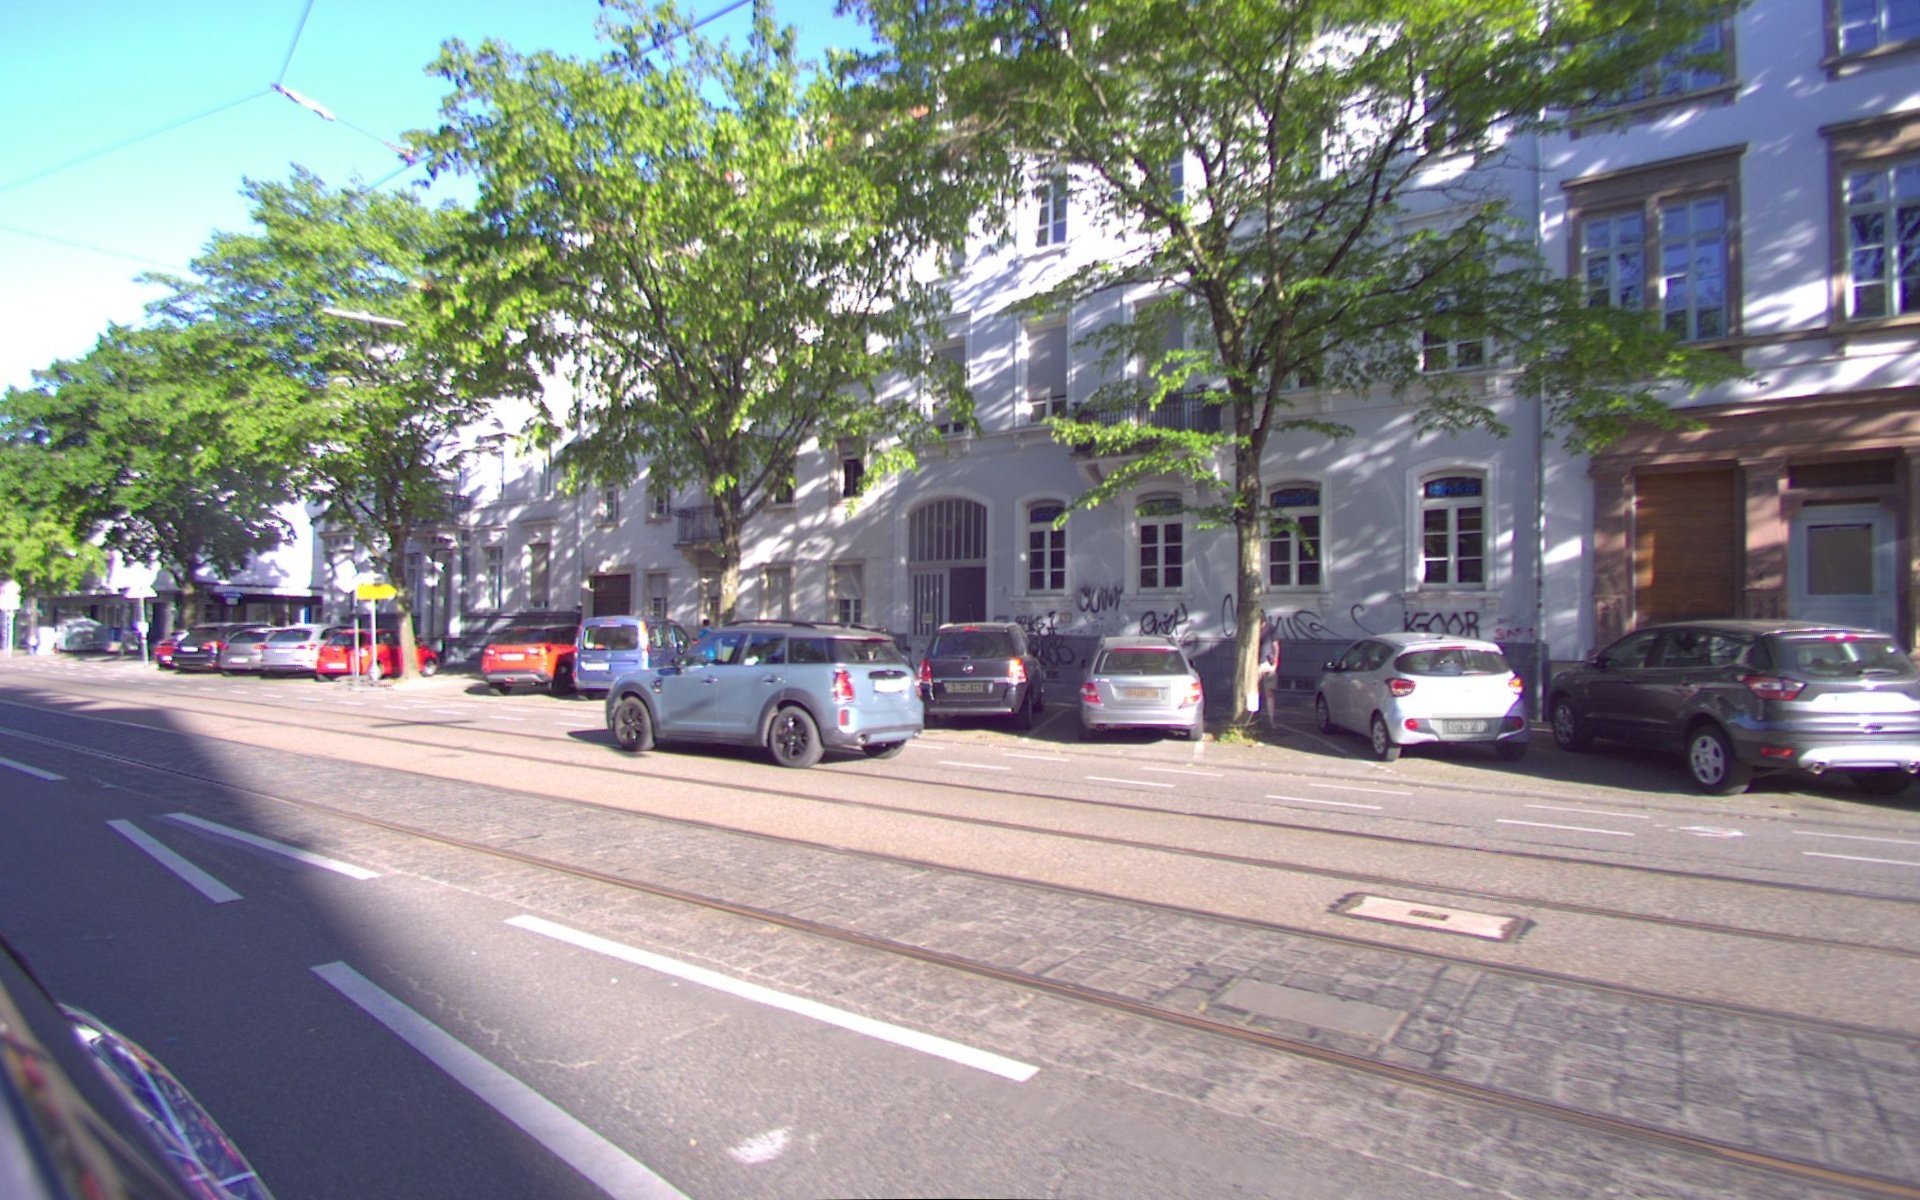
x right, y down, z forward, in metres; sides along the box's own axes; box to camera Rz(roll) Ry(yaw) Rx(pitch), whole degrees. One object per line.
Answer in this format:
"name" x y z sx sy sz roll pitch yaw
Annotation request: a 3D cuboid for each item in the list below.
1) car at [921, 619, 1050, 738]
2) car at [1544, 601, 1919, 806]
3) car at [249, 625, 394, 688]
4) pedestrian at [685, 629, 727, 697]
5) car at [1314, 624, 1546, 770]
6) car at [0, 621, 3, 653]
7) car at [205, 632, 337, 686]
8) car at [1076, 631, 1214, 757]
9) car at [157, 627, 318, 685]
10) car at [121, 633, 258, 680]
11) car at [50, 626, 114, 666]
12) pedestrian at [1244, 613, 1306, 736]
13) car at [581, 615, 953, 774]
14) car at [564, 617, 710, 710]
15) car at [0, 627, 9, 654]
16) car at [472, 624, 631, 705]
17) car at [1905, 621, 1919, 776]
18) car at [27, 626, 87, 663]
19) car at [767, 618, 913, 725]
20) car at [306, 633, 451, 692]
"car" 0.532 1.161 16.575 1.752 1.667 3.862 0 -1 7
"car" 8.391 0.924 11.125 1.686 1.736 4.281 0 1 4
"car" -19.999 1.729 31.939 1.761 1.737 4.196 0 0 3
"pedestrian" -6.506 1.597 25.943 0.870 1.709 0.635 -1 -3 41
"car" 5.967 1.152 13.260 1.686 1.544 3.276 -1 1 4
"car" -61.205 2.294 61.432 1.666 1.965 4.264 -1 0 30
"car" -22.579 1.894 33.337 1.725 1.531 3.763 0 0 2
"car" 2.608 1.269 15.030 1.750 1.496 3.814 0 0 7
"car" -24.603 1.858 34.663 1.929 1.727 4.342 0 0 13
"car" -27.786 2.007 36.645 1.759 1.497 3.995 0 0 4
"car" -44.014 2.286 50.724 3.208 1.912 1.652 -1 -3 36
"pedestrian" 4.716 1.093 15.141 0.803 1.769 0.759 -1 -3 25
"car" -2.422 1.035 12.306 4.415 1.613 1.855 -1 -3 34
"car" -7.163 1.340 22.902 1.762 1.812 4.197 0 0 3
"car" -58.648 2.457 59.227 1.666 1.582 4.060 -1 0 30
"car" -9.694 1.477 24.410 1.722 1.649 4.192 -2 0 7
"car" 10.888 1.027 8.784 1.612 1.629 3.985 -1 0 1
"car" -47.444 2.332 53.164 3.208 1.912 1.652 -1 -3 36
"car" -2.020 1.171 18.113 1.752 1.667 3.862 0 -1 7
"car" -17.370 1.826 30.499 1.621 1.570 4.192 0 -1 7
